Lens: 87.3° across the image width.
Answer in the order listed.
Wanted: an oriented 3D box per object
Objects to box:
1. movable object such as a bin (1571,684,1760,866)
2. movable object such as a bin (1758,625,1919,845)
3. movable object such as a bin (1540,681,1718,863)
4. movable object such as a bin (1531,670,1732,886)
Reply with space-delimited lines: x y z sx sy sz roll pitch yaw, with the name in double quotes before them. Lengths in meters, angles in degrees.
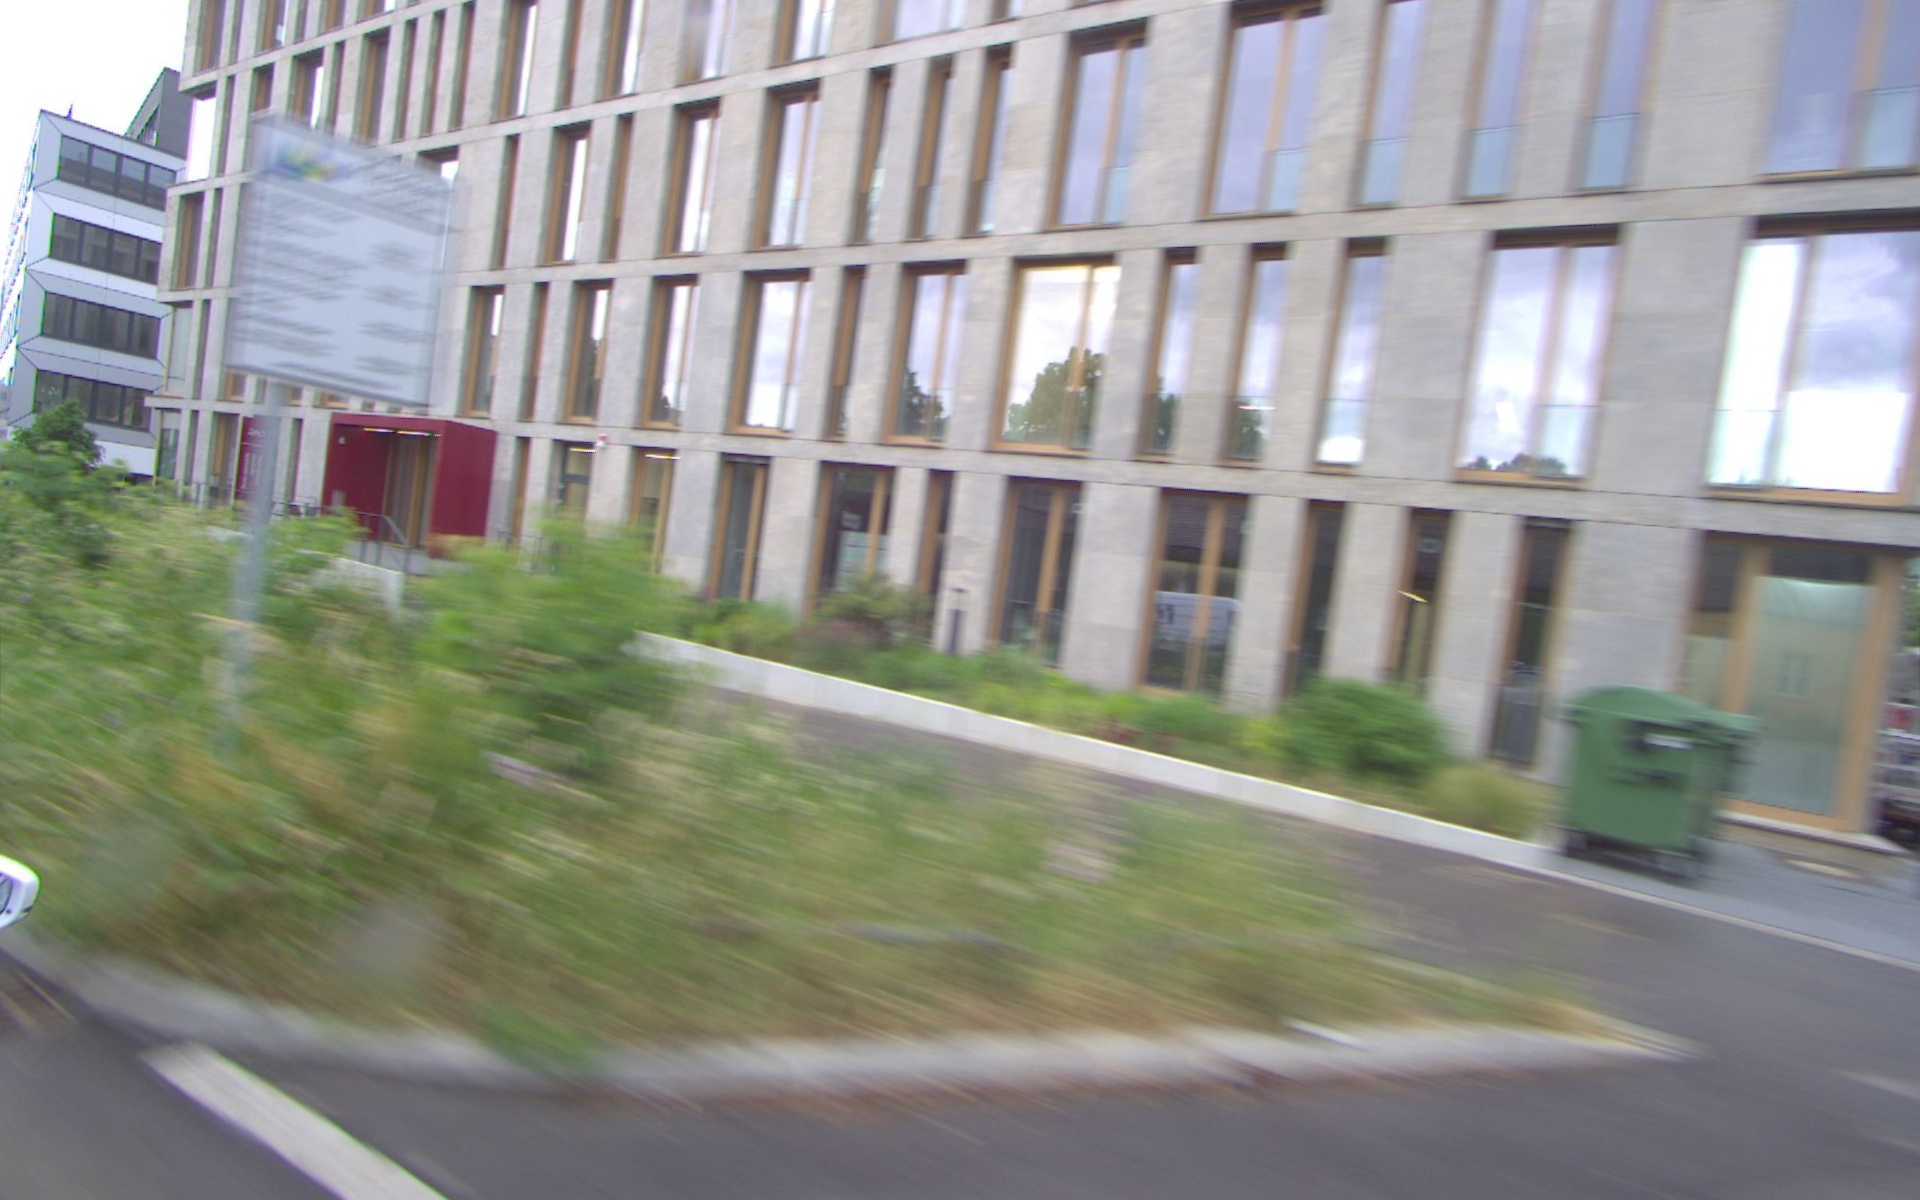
"movable object such as a bin" 7.199 1.721 10.265 1.367 1.522 1.195 6 -1 40
"movable object such as a bin" 17.590 2.546 19.060 2.584 3.488 6.365 7 -1 30
"movable object such as a bin" 6.239 1.573 9.377 1.134 1.414 1.098 6 -4 41
"movable object such as a bin" 5.536 1.433 8.273 1.095 1.473 1.247 6 -4 41
